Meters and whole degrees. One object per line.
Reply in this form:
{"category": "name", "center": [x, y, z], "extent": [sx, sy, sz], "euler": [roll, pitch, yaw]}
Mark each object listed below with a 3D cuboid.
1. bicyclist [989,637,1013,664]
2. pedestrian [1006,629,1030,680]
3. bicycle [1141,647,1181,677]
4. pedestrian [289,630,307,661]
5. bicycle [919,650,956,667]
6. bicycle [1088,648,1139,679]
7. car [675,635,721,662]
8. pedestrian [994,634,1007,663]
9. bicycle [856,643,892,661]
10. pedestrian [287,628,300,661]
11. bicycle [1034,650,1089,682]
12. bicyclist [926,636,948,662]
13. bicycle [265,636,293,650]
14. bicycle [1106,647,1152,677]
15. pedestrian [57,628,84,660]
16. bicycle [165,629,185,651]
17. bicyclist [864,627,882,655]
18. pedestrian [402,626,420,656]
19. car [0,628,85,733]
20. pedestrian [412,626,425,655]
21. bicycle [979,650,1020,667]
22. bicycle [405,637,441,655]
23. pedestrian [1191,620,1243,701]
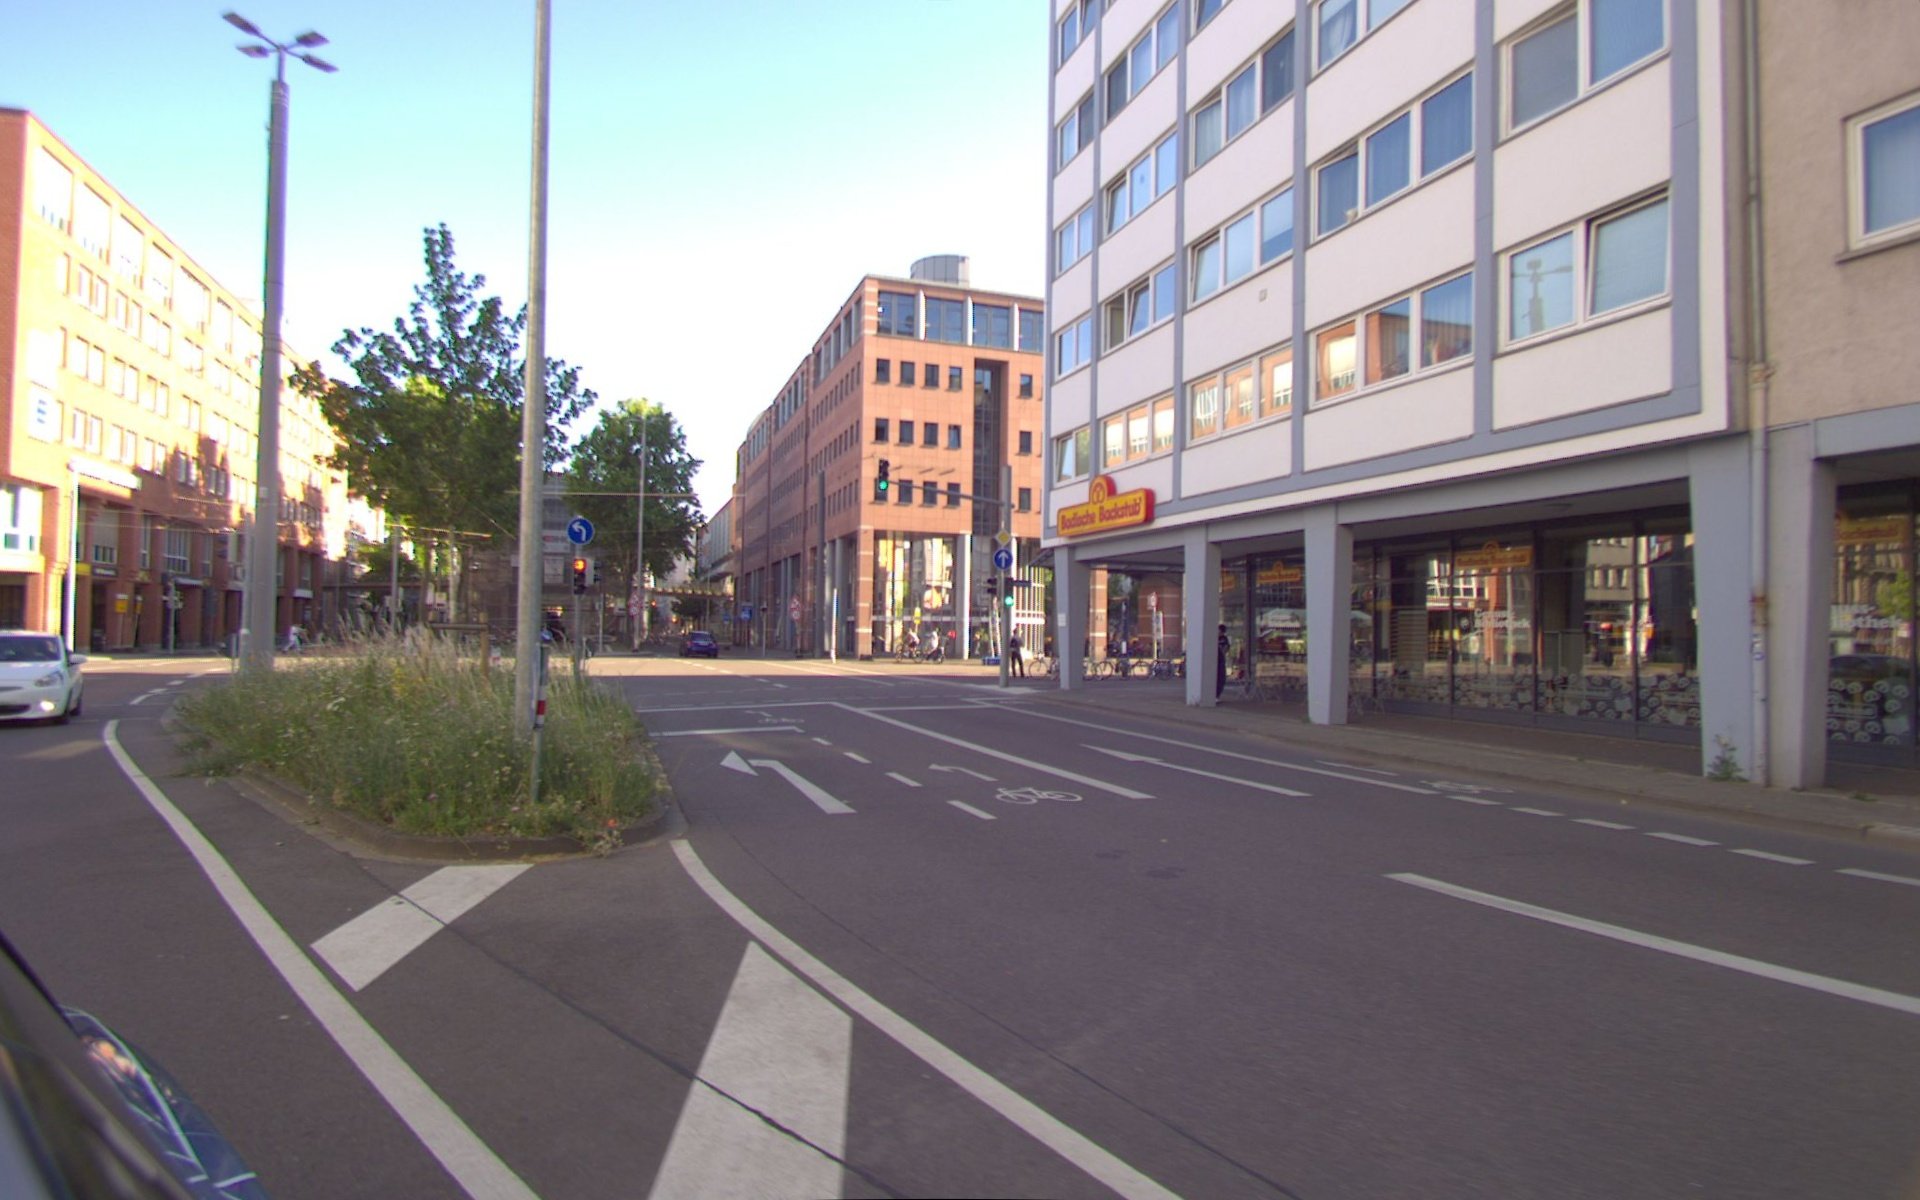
{"category": "bicyclist", "center": [2.090, 2.599, 52.244], "extent": [1.004, 1.350, 0.782], "euler": [1, -2, -21]}
{"category": "pedestrian", "center": [2.091, 1.976, 36.704], "extent": [0.619, 1.805, 0.787], "euler": [1, -2, -18]}
{"category": "bicycle", "center": [7.391, 2.268, 37.302], "extent": [0.586, 1.061, 2.012], "euler": [1, -2, -15]}
{"category": "pedestrian", "center": [-36.293, 2.488, 55.483], "extent": [0.624, 1.738, 0.632], "euler": [1, -2, -20]}
{"category": "bicycle", "center": [-1.136, 2.957, 51.494], "extent": [1.988, 0.814, 0.618], "euler": [1, -2, -42]}
{"category": "bicycle", "center": [5.530, 2.281, 36.564], "extent": [0.587, 1.061, 2.010], "euler": [2, -3, -37]}
{"category": "car", "center": [-14.590, 2.658, 56.238], "extent": [1.807, 1.396, 4.611], "euler": [1, -1, -22]}
{"category": "pedestrian", "center": [2.176, 2.620, 54.601], "extent": [0.482, 1.548, 0.564], "euler": [2, -3, -37]}
{"category": "bicycle", "center": [-4.630, 2.789, 54.482], "extent": [1.957, 0.919, 0.577], "euler": [-1, -3, 30]}
{"category": "pedestrian", "center": [-36.054, 2.401, 54.752], "extent": [0.469, 1.806, 0.542], "euler": [1, -2, -20]}
{"category": "bicycle", "center": [3.517, 2.289, 35.316], "extent": [0.588, 1.061, 2.007], "euler": [2, -3, -44]}
{"category": "bicyclist", "center": [-1.163, 2.472, 51.488], "extent": [0.943, 1.322, 0.618], "euler": [1, -2, -42]}
{"category": "bicycle", "center": [-51.529, 3.275, 76.602], "extent": [1.589, 0.962, 0.556], "euler": [3, -3, -17]}
{"category": "bicycle", "center": [6.245, 2.280, 37.455], "extent": [0.586, 1.061, 2.012], "euler": [1, -2, -28]}
{"category": "pedestrian", "center": [-45.019, 2.229, 51.220], "extent": [0.752, 1.602, 0.837], "euler": [-1, -2, 31]}
{"category": "bicycle", "center": [-46.041, 2.325, 59.381], "extent": [0.335, 1.265, 1.715], "euler": [1, -2, -18]}
{"category": "bicyclist", "center": [-4.688, 2.232, 54.540], "extent": [0.746, 1.496, 0.577], "euler": [-1, -3, 30]}
{"category": "pedestrian", "center": [-31.669, 2.353, 58.403], "extent": [0.766, 1.747, 0.851], "euler": [1, -2, -22]}
{"category": "car", "center": [-15.314, 1.204, 16.207], "extent": [1.782, 1.512, 4.205], "euler": [2, -2, -43]}
{"category": "pedestrian", "center": [-31.678, 2.390, 59.233], "extent": [0.558, 1.692, 0.532], "euler": [1, -2, -18]}
{"category": "bicycle", "center": [2.025, 3.000, 52.214], "extent": [1.984, 0.814, 0.782], "euler": [1, -2, -21]}
{"category": "bicycle", "center": [-31.630, 2.716, 59.616], "extent": [1.803, 1.087, 0.482], "euler": [1, -2, -18]}
{"category": "pedestrian", "center": [5.602, 1.304, 22.087], "extent": [0.794, 1.737, 0.778], "euler": [0, -1, -19]}
